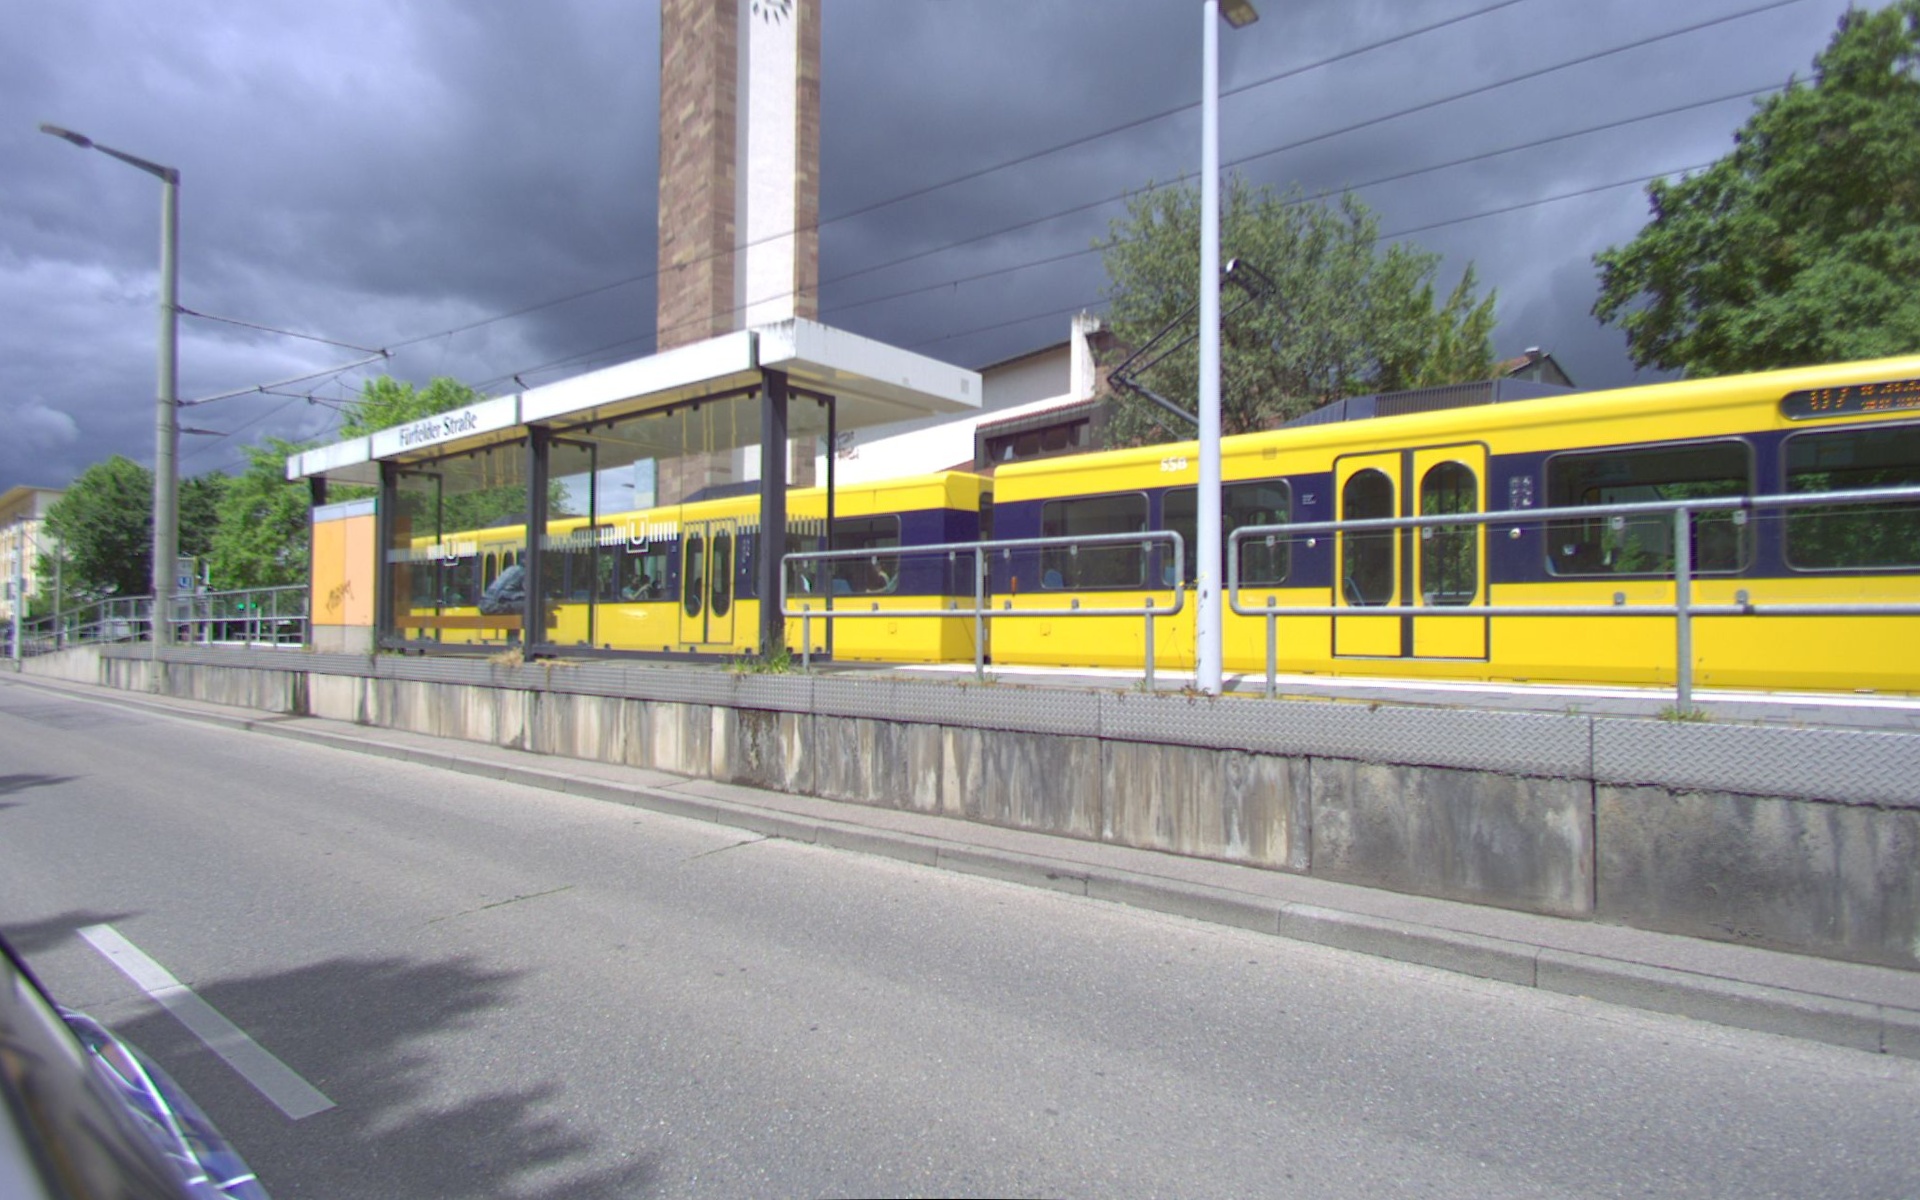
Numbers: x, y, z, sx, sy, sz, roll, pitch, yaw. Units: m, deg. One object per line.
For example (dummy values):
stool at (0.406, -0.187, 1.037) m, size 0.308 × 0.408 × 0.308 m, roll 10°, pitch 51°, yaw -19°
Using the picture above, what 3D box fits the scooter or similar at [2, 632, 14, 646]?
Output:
scooter or similar at (-76.834, 3.118, 81.680) m, size 0.819 × 1.123 × 0.598 m, roll -1°, pitch -1°, yaw 37°

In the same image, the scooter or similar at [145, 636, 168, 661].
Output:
scooter or similar at (-40.528, 2.441, 51.032) m, size 1.400 × 1.246 × 0.643 m, roll -2°, pitch -1°, yaw 40°

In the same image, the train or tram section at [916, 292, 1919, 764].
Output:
train or tram section at (7.751, -0.541, 8.968) m, size 18.974 × 3.491 × 3.078 m, roll -1°, pitch 0°, yaw 39°

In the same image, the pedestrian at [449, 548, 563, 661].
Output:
pedestrian at (-5.060, 0.074, 11.284) m, size 0.918 × 1.196 × 0.788 m, roll -1°, pitch -4°, yaw 38°

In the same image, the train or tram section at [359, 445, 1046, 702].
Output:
train or tram section at (-6.916, -0.217, 20.876) m, size 18.804 × 3.491 × 3.078 m, roll -1°, pitch 0°, yaw 39°
